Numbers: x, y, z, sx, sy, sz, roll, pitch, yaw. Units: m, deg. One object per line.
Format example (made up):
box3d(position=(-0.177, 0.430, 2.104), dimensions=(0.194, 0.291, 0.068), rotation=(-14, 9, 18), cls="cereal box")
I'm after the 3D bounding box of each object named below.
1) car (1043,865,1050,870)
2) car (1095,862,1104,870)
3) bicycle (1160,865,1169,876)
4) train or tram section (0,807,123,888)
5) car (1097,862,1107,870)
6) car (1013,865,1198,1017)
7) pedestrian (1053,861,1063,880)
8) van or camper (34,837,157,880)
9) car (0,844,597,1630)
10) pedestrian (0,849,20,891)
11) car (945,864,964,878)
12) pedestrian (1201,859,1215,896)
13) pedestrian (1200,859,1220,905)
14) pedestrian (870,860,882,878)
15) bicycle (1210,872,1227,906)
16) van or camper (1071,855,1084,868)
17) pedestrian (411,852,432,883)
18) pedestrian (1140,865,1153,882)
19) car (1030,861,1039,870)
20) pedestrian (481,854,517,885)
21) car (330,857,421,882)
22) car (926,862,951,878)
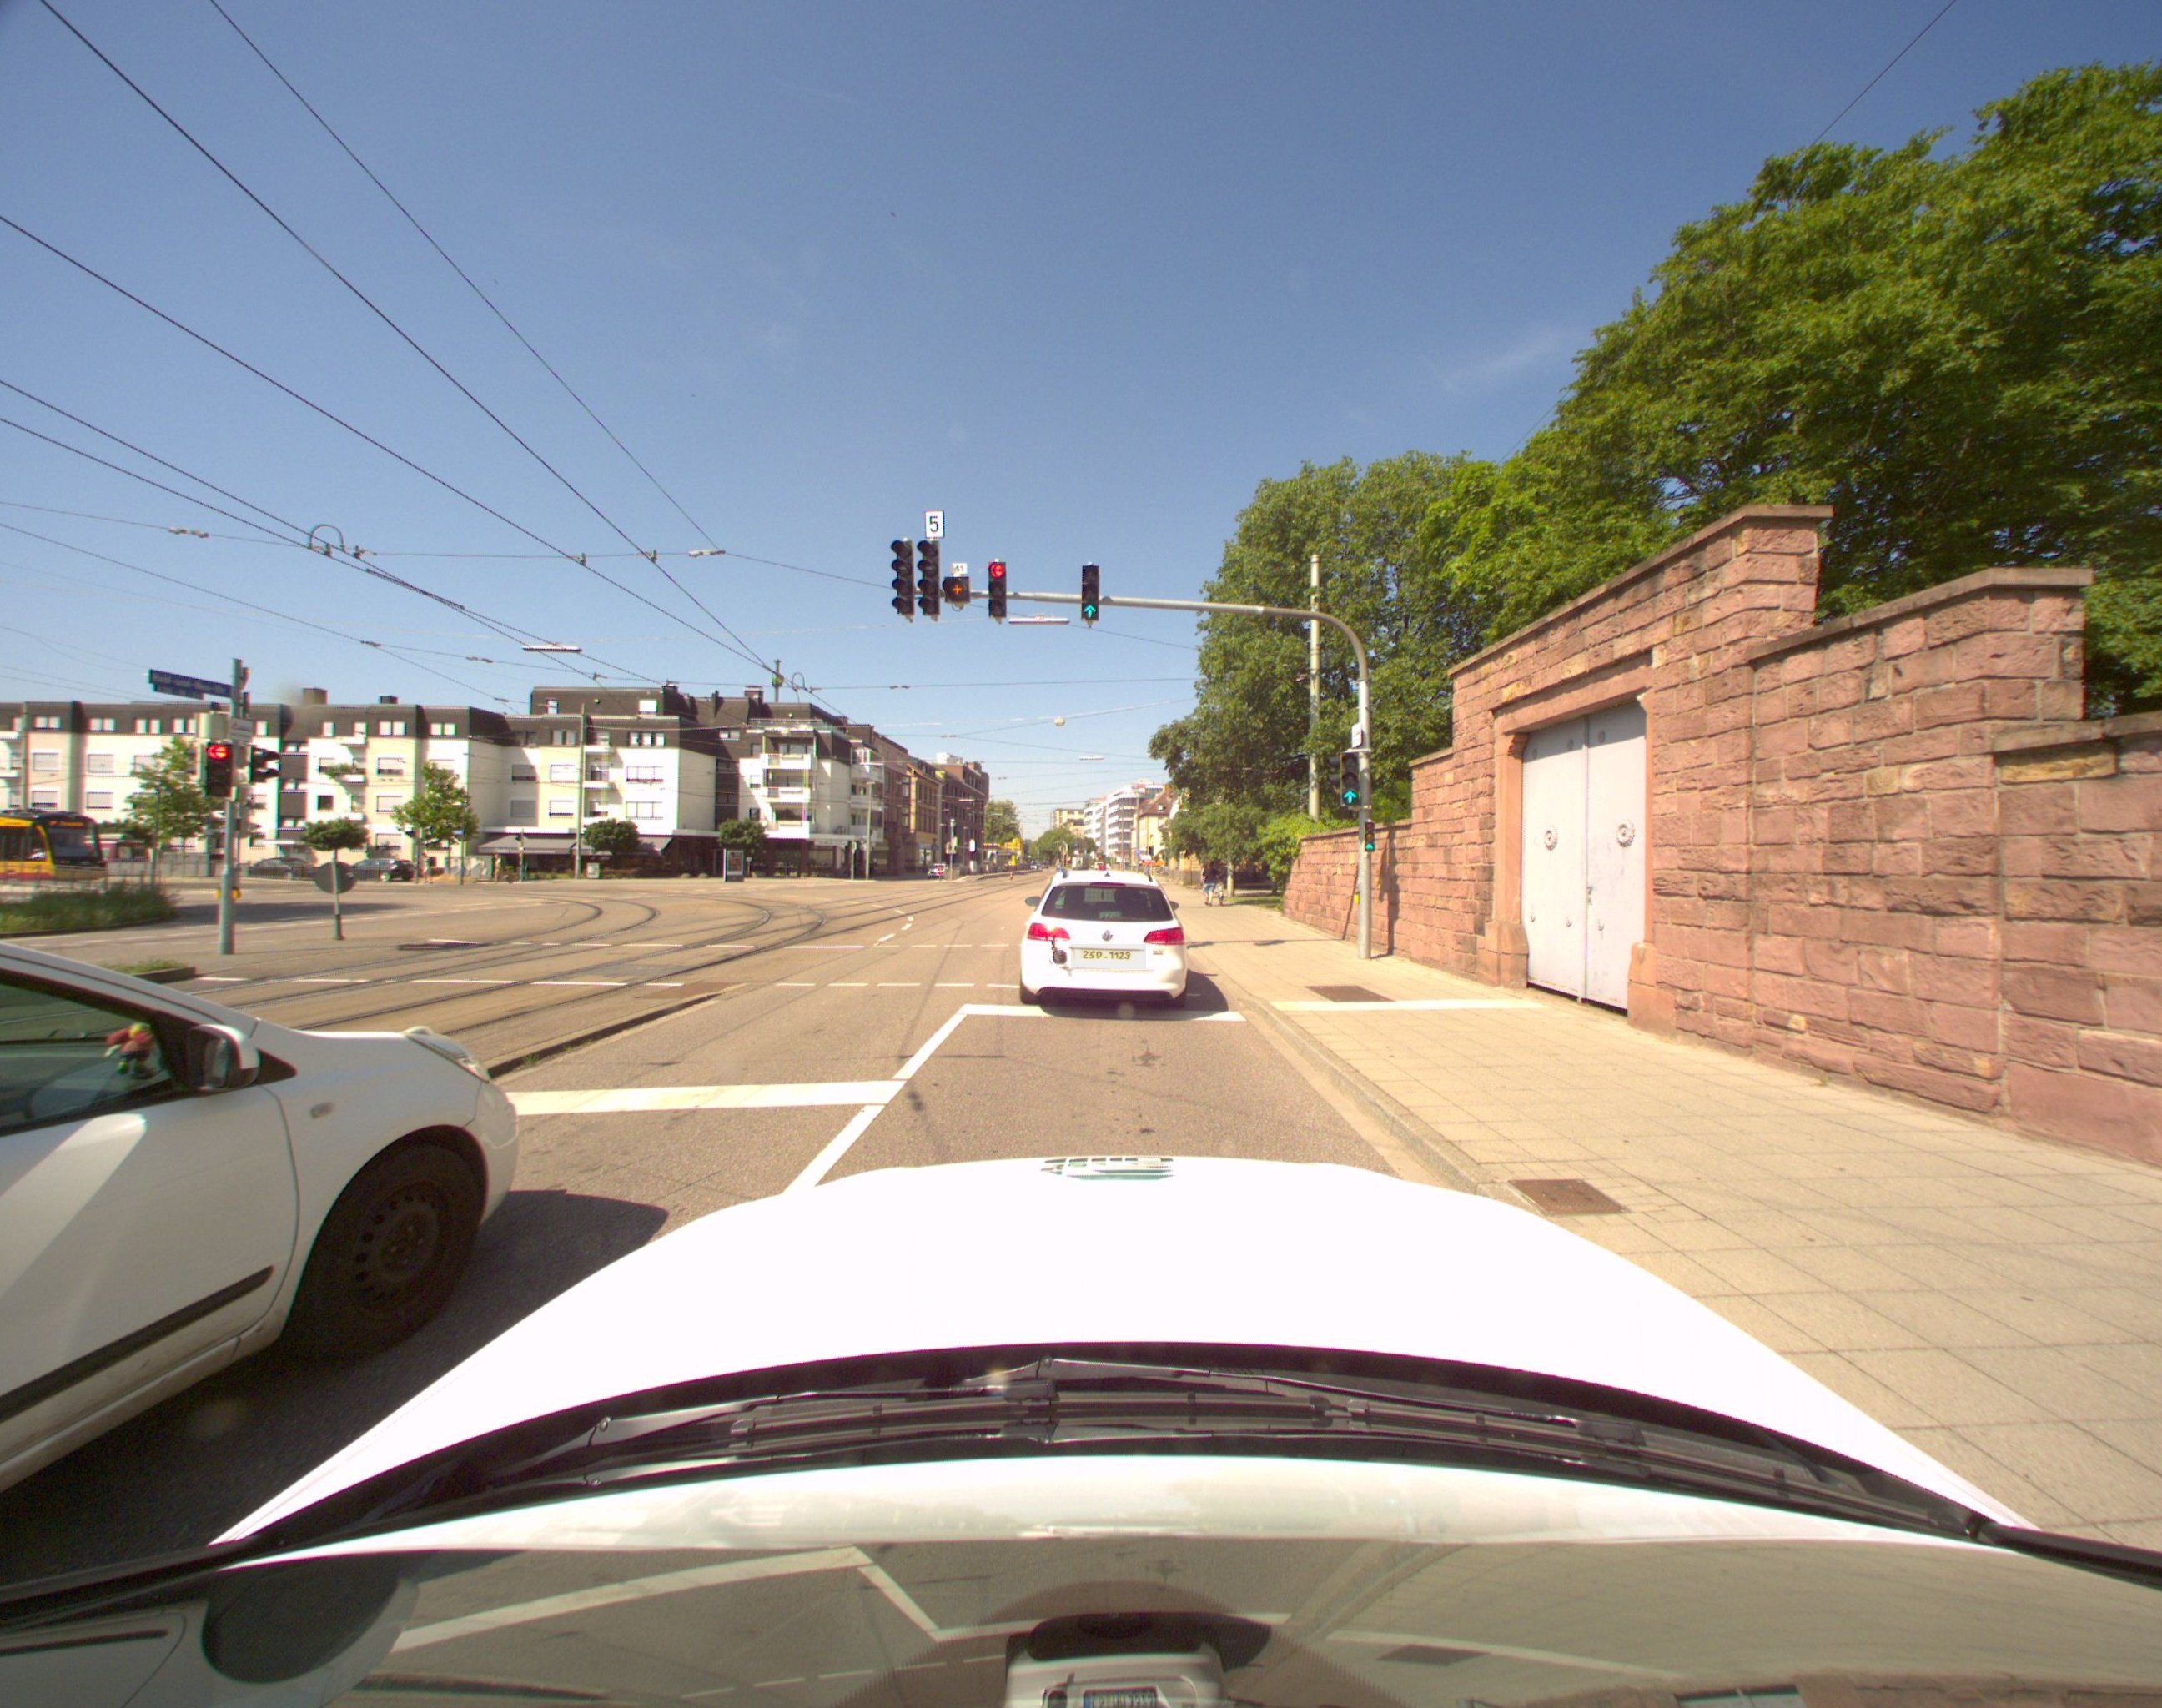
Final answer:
box3d(position=(-9.260, 3.587, 219.846), dimensions=(1.662, 1.466, 3.774), rotation=(0, -1, 1), cls="car")
box3d(position=(4.405, 2.859, 195.825), dimensions=(1.989, 2.014, 3.995), rotation=(0, -1, -3), cls="car")
box3d(position=(9.010, 1.732, 87.826), dimensions=(0.720, 1.139, 2.203), rotation=(0, -1, 14), cls="bicycle")
box3d(position=(-53.660, -0.325, 38.341), dimensions=(13.814, 3.658, 2.769), rotation=(0, -1, 1), cls="train or tram section")
box3d(position=(4.909, 2.786, 190.393), dimensions=(1.989, 2.014, 3.995), rotation=(0, -1, -3), cls="car")
box3d(position=(0.300, 0.852, 9.662), dimensions=(1.746, 1.418, 3.854), rotation=(0, -1, 2), cls="car")
box3d(position=(-2.157, 1.548, 76.276), dimensions=(0.823, 1.809, 0.834), rotation=(0, -1, 2), cls="pedestrian")
box3d(position=(-62.704, 0.303, 51.895), dimensions=(4.859, 2.624, 2.376), rotation=(0, -1, 0), cls="van or camper")
box3d(position=(-3.042, 0.772, 1.501), dimensions=(1.759, 1.561, 4.068), rotation=(-1, -1, 2), cls="car")
box3d(position=(-47.239, 0.688, 35.343), dimensions=(1.193, 1.838, 0.897), rotation=(0, -1, 1), cls="pedestrian")
box3d(position=(-13.390, 1.798, 86.490), dimensions=(1.568, 1.459, 3.811), rotation=(0, -1, -2), cls="car")
box3d(position=(5.766, 1.052, 36.934), dimensions=(0.646, 1.682, 0.709), rotation=(0, -1, 9), cls="pedestrian")
box3d(position=(4.476, 0.960, 28.304), dimensions=(0.538, 1.549, 0.663), rotation=(-2, -1, 1), cls="pedestrian")
box3d(position=(-18.961, 1.349, 75.209), dimensions=(0.870, 1.647, 0.685), rotation=(0, -1, 41), cls="pedestrian")
box3d(position=(4.740, 1.181, 28.045), dimensions=(0.532, 1.111, 1.812), rotation=(-1, -1, 11), cls="bicycle")
box3d(position=(-0.776, 1.792, 192.886), dimensions=(2.934, 3.180, 6.611), rotation=(0, -1, 0), cls="van or camper")
box3d(position=(-37.163, 0.758, 45.909), dimensions=(0.816, 1.760, 0.754), rotation=(1, -1, -45), cls="pedestrian")
box3d(position=(5.698, 1.678, 70.586), dimensions=(0.847, 1.510, 0.786), rotation=(0, -1, 35), cls="pedestrian")
box3d(position=(-10.672, 2.618, 187.053), dimensions=(1.987, 2.014, 3.999), rotation=(-1, -1, 0), cls="car")
box3d(position=(-35.037, 0.912, 49.037), dimensions=(1.108, 1.836, 1.448), rotation=(0, -1, 35), cls="pedestrian")
box3d(position=(-44.981, 0.974, 51.960), dimensions=(4.158, 1.500, 1.828), rotation=(0, -1, 0), cls="car")
box3d(position=(-13.729, 1.553, 78.743), dimensions=(1.620, 1.431, 3.962), rotation=(2, -1, 0), cls="car")
